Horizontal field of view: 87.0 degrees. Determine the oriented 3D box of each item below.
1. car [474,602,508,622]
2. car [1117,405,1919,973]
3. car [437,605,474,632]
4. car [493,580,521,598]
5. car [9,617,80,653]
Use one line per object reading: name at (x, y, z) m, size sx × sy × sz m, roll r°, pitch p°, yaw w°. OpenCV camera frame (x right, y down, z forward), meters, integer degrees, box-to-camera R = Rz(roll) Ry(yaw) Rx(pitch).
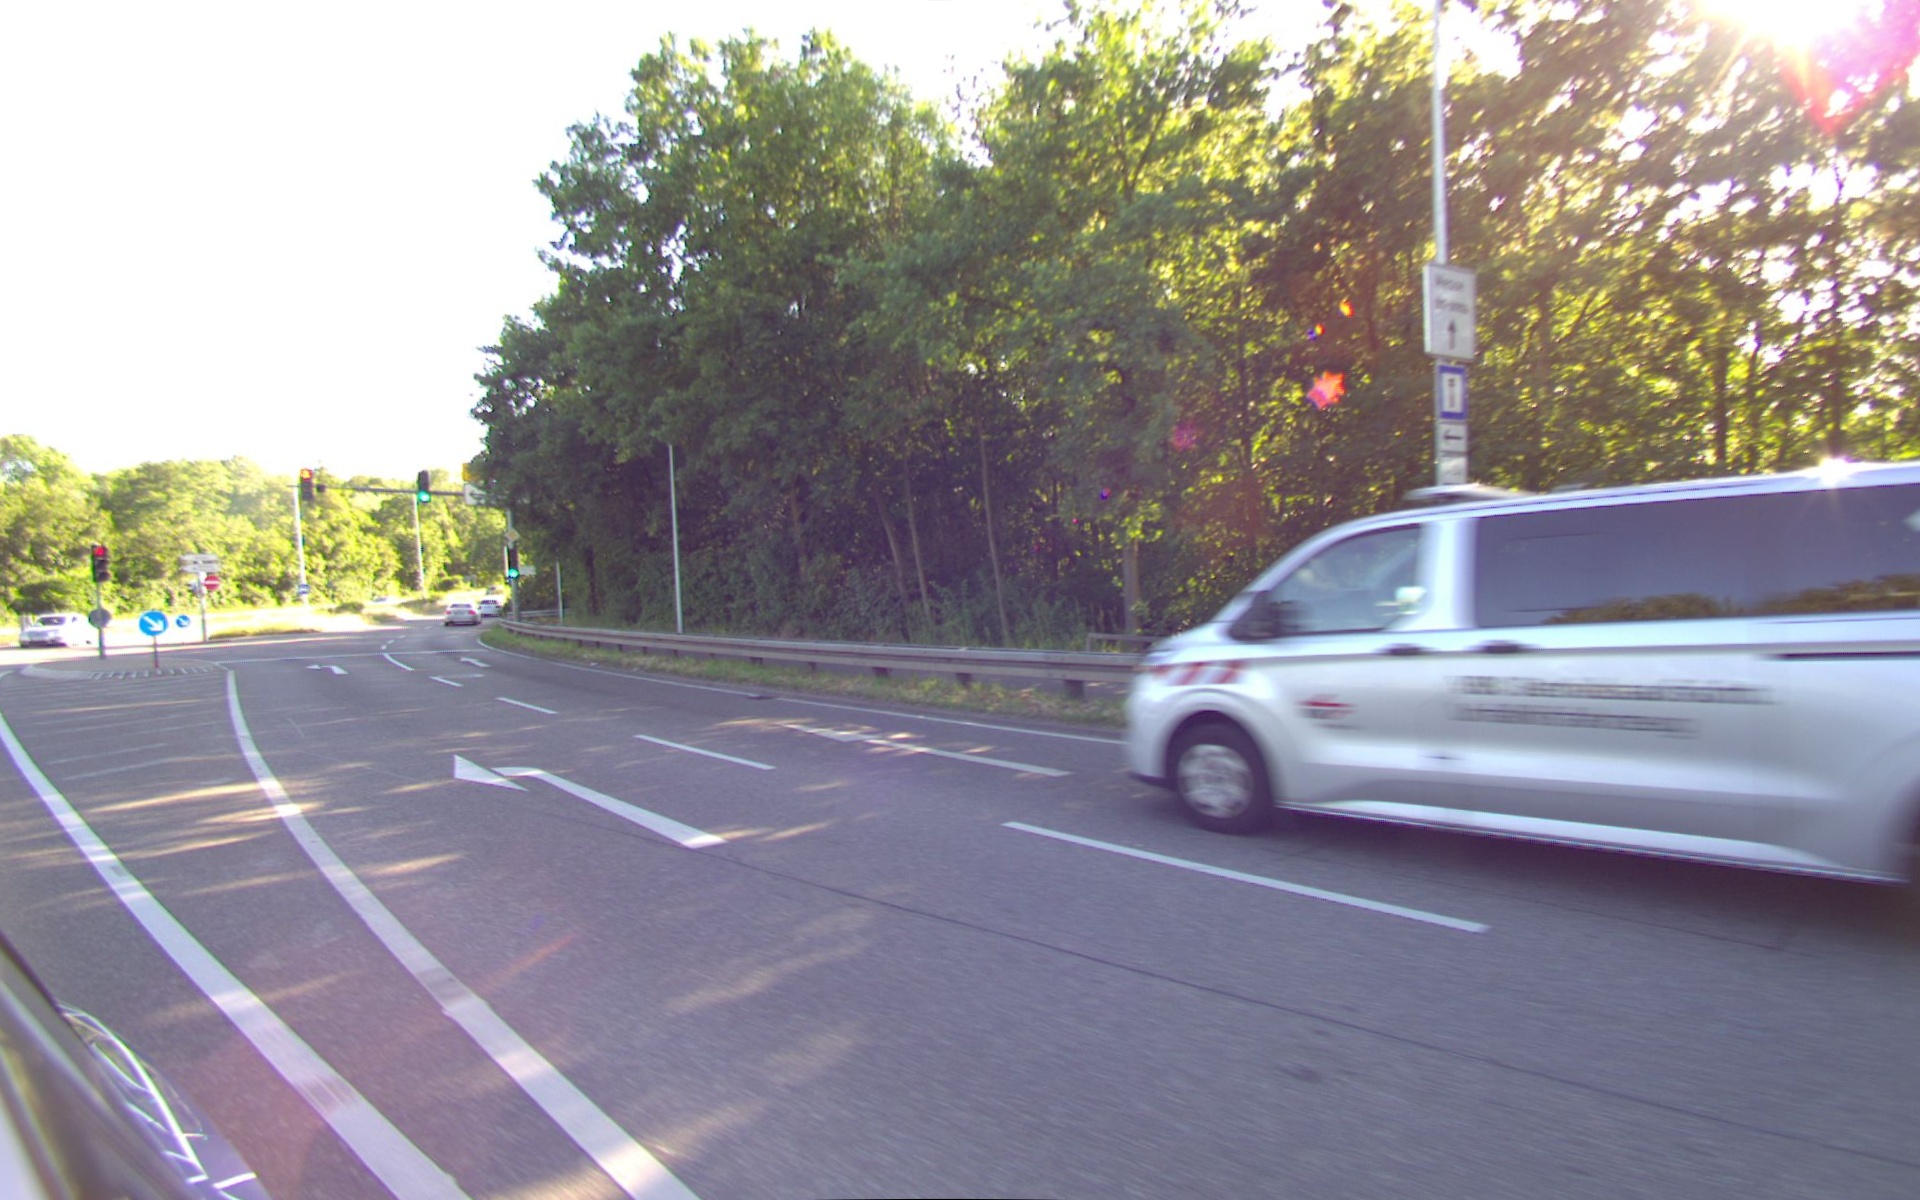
car at (-36.108, 0.890, 78.003) m, size 1.677 × 1.400 × 4.541 m, roll -1°, pitch 1°, yaw -16°
car at (3.536, 0.341, 5.252) m, size 1.926 × 2.128 × 5.275 m, roll -1°, pitch 0°, yaw -43°
car at (-31.271, 1.099, 62.843) m, size 1.821 × 1.498 × 4.644 m, roll -2°, pitch 1°, yaw -24°
car at (-52.187, -1.293, 116.631) m, size 1.967 × 2.029 × 4.009 m, roll -2°, pitch 1°, yaw -11°
car at (-41.488, 1.556, 45.955) m, size 1.736 × 1.447 × 4.342 m, roll -2°, pitch 1°, yaw -34°
